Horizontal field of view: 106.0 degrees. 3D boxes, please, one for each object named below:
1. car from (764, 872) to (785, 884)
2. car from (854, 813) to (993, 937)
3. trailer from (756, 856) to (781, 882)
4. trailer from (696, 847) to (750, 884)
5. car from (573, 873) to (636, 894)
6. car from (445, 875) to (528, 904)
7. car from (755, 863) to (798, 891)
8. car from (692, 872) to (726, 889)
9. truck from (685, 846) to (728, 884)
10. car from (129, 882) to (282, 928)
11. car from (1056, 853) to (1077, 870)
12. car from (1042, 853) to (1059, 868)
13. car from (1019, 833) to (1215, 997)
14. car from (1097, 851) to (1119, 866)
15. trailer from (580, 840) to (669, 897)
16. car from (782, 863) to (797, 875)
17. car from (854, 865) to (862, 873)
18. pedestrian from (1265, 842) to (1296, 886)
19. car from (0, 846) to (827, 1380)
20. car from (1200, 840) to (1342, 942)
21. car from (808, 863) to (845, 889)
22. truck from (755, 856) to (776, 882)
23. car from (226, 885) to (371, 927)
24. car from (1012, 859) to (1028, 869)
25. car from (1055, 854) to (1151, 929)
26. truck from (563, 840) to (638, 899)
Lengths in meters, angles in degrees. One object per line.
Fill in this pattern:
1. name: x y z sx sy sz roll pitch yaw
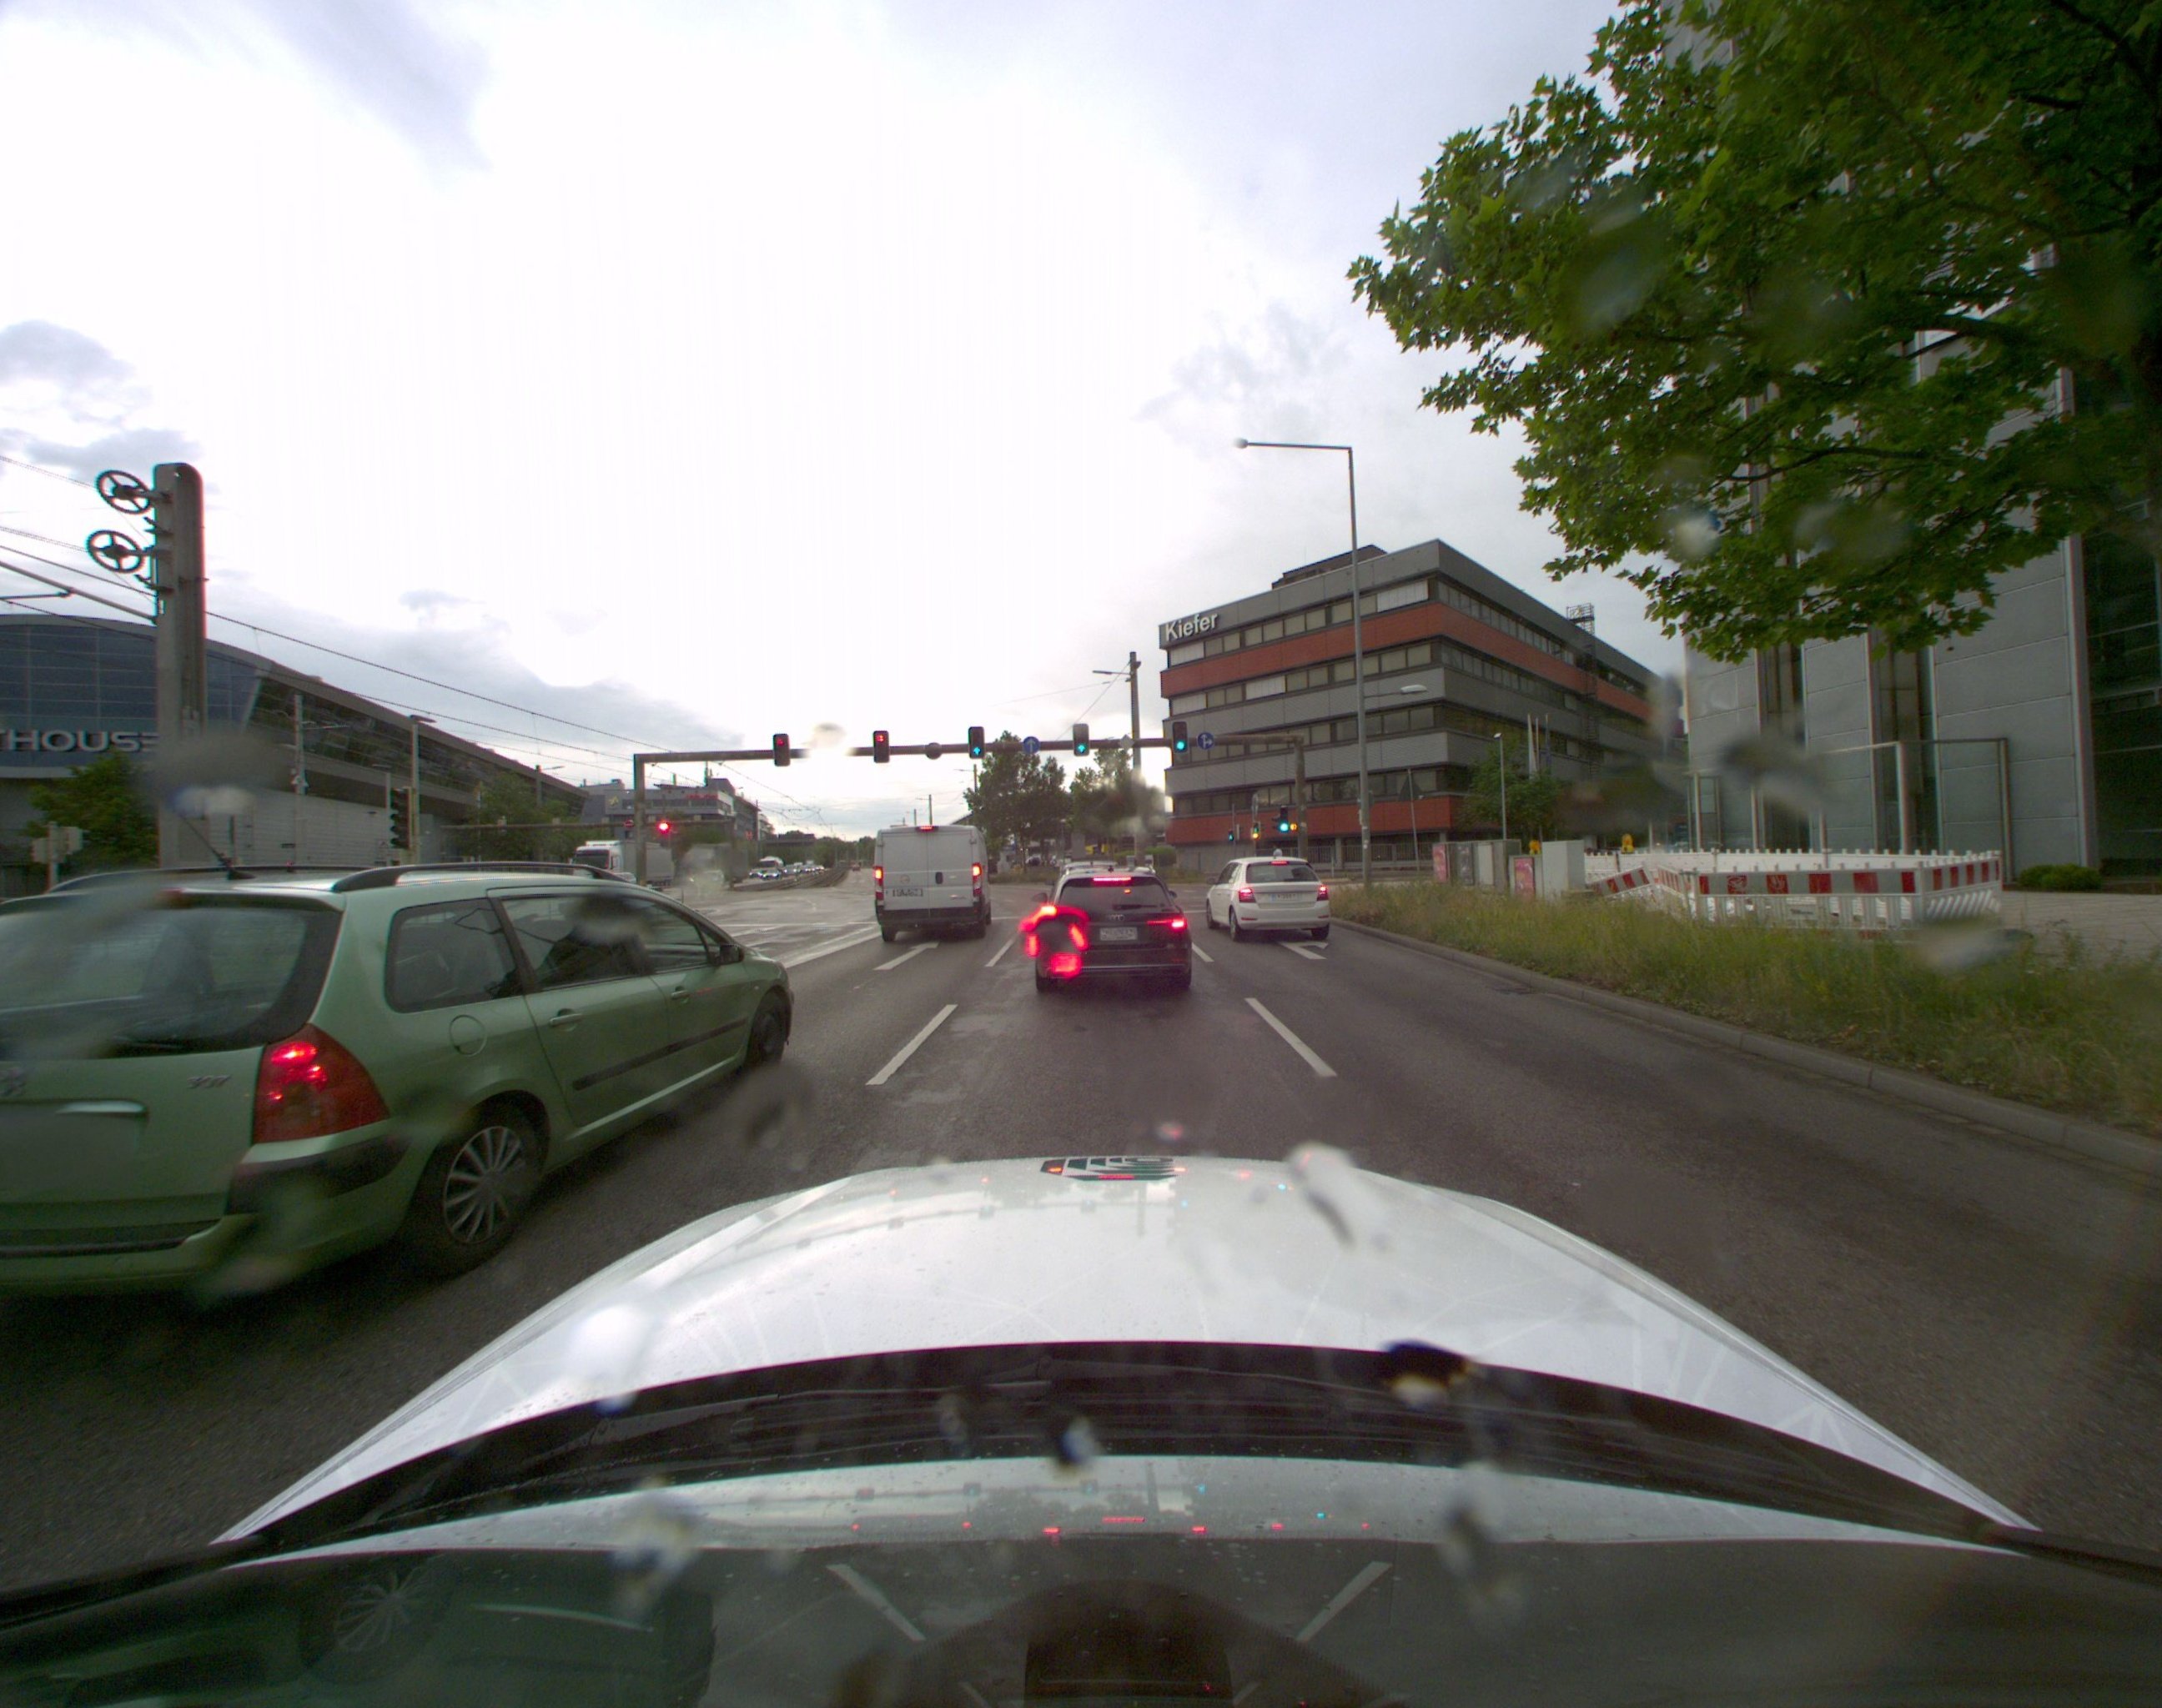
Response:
1. car: -41.798 3.300 111.006 1.903 1.555 4.549 1 -1 -11
2. car: -3.183 0.459 17.635 2.442 2.294 4.894 0 -2 -5
3. trailer: -50.710 2.539 132.353 2.731 3.854 11.164 -3 -1 -16
4. trailer: -43.187 1.435 98.651 2.649 4.125 12.705 -2 -1 -9
5. car: -29.973 1.854 51.355 1.907 1.264 4.400 0 -1 -8
6. car: -31.750 1.884 43.632 1.737 1.462 4.142 0 -1 -7
7. car: -23.178 1.716 62.174 1.768 2.014 4.344 0 0 -2
8. car: -35.399 2.509 77.620 1.887 1.652 4.081 1 -2 -10
9. truck: -42.180 1.263 91.809 2.665 4.130 6.166 -2 -1 -9
10. car: -34.230 1.954 32.015 1.567 1.627 4.081 0 -1 0
11. car: -1.846 0.961 103.774 1.994 2.032 3.986 -3 0 -10
12. car: -4.260 0.968 112.681 1.682 2.014 3.524 1 -2 -14
13. car: 0.430 0.684 10.466 1.986 1.637 4.001 -2 -2 1
14. car: 3.854 0.686 115.881 1.876 2.014 3.749 1 -2 -19
15. trailer: -36.110 1.102 65.040 2.797 4.107 11.394 -2 0 -12
16. car: -46.474 2.337 130.039 1.999 1.837 4.880 0 0 -17
17. car: -52.102 3.513 190.295 1.775 2.014 4.327 1 -2 -13
18. pedestrian: 9.827 0.475 40.157 1.139 2.125 1.223 -3 1 1
19. car: -3.019 0.762 4.483 1.688 1.468 4.405 0 -1 2
20. car: 3.455 0.661 15.558 1.822 1.656 4.000 -1 -1 1
21. car: -21.008 1.777 67.366 1.768 2.014 4.344 0 0 -2
22. truck: -48.967 2.348 126.512 2.754 3.805 5.376 -3 -1 -19
23. car: -30.630 2.003 32.054 1.781 1.503 3.998 0 -1 0
24. car: -10.126 1.680 135.380 1.795 1.591 3.977 -2 0 -16
25. car: 0.548 0.792 18.301 1.886 1.465 3.912 -2 -1 3
26. truck: -34.935 1.088 59.442 2.834 3.996 5.962 -2 0 -12
